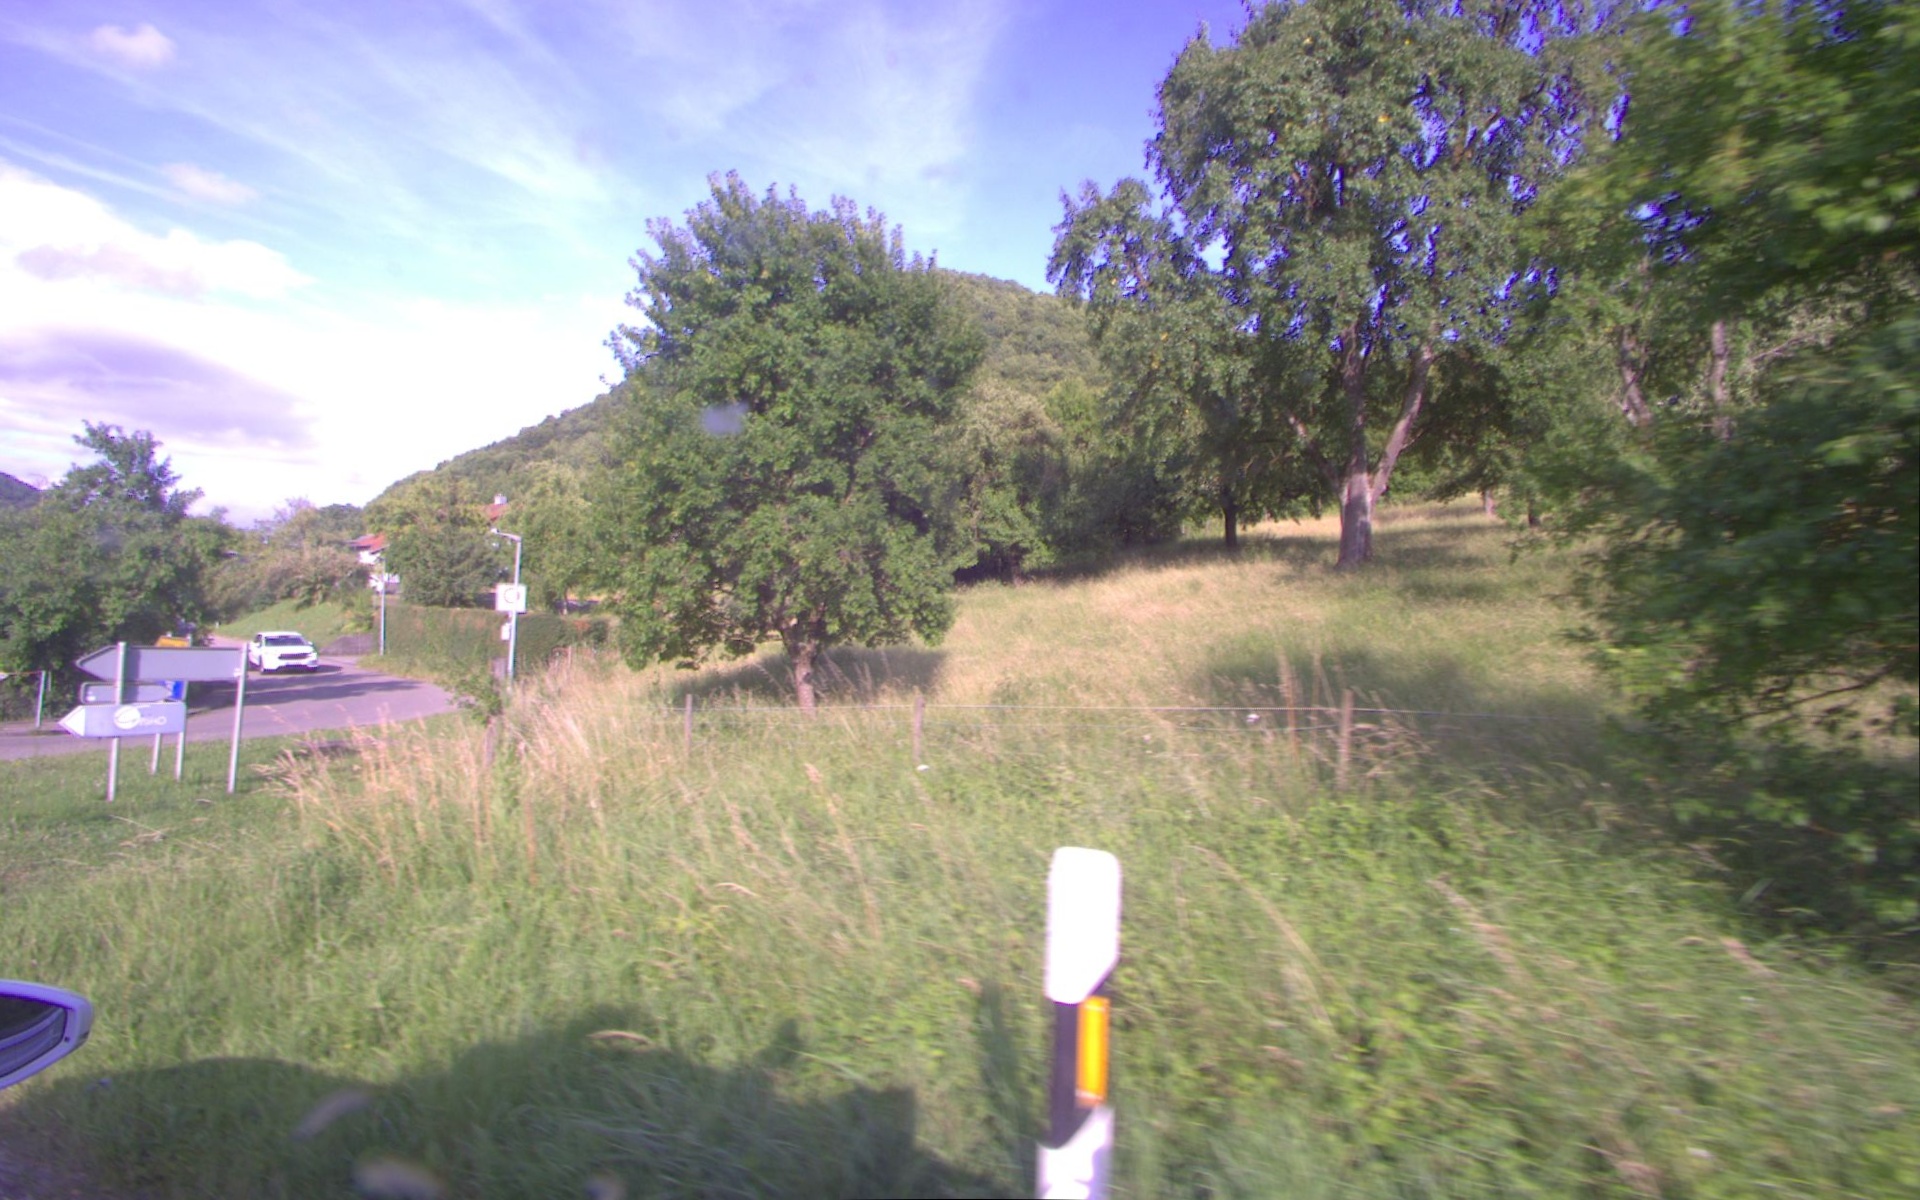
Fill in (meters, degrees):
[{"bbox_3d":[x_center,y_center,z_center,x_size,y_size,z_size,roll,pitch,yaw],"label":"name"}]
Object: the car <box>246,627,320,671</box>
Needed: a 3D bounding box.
[{"bbox_3d":[-27.415,1.930,40.486,1.854,1.630,4.530,2,-2,-42],"label":"car"}]
